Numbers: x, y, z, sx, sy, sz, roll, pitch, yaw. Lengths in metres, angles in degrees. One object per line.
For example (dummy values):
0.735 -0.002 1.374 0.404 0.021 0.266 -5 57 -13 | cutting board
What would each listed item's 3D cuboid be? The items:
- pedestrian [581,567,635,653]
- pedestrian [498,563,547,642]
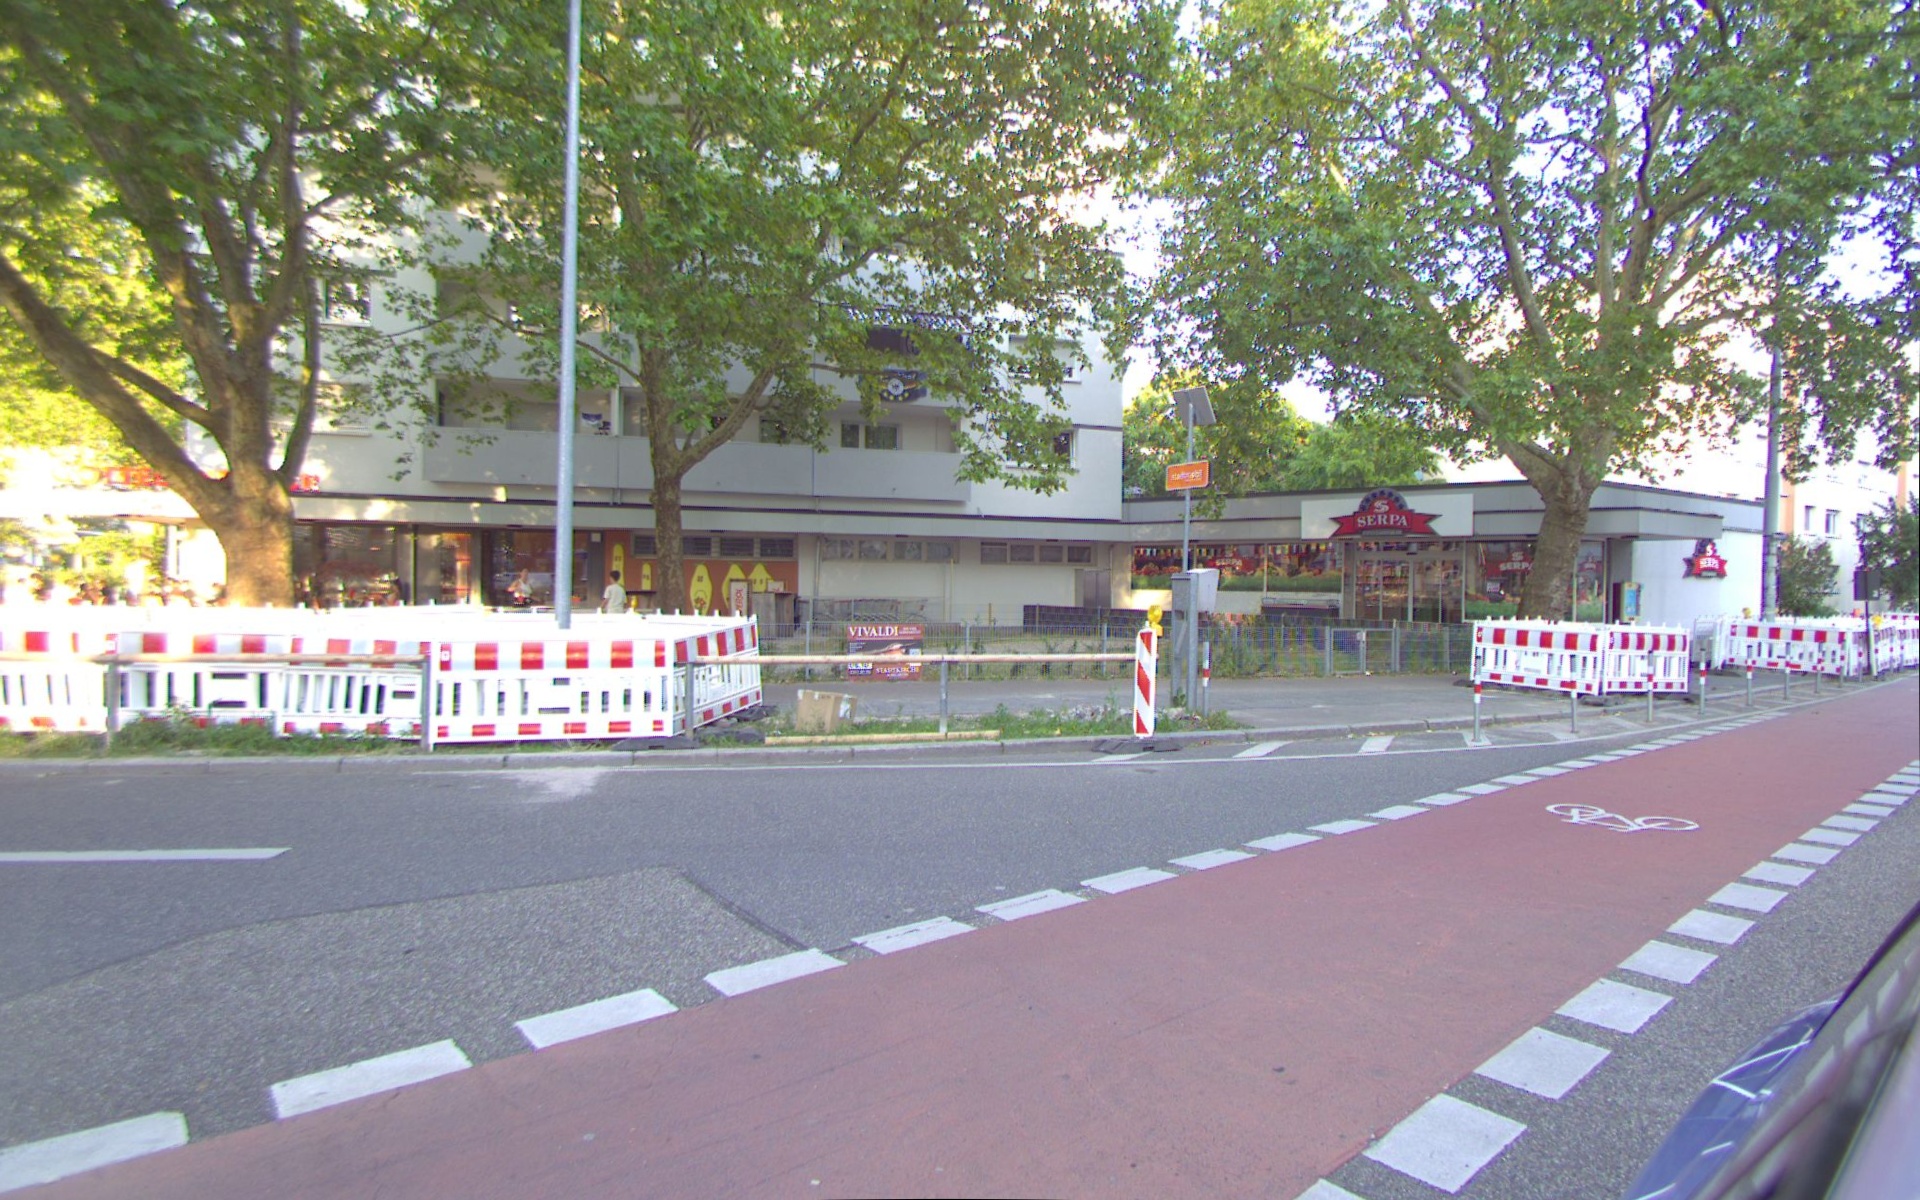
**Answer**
-6.748 0.185 19.426 0.636 1.608 0.738 0 0 33 | pedestrian
-9.099 0.036 21.063 0.639 1.608 0.735 0 0 43 | pedestrian
